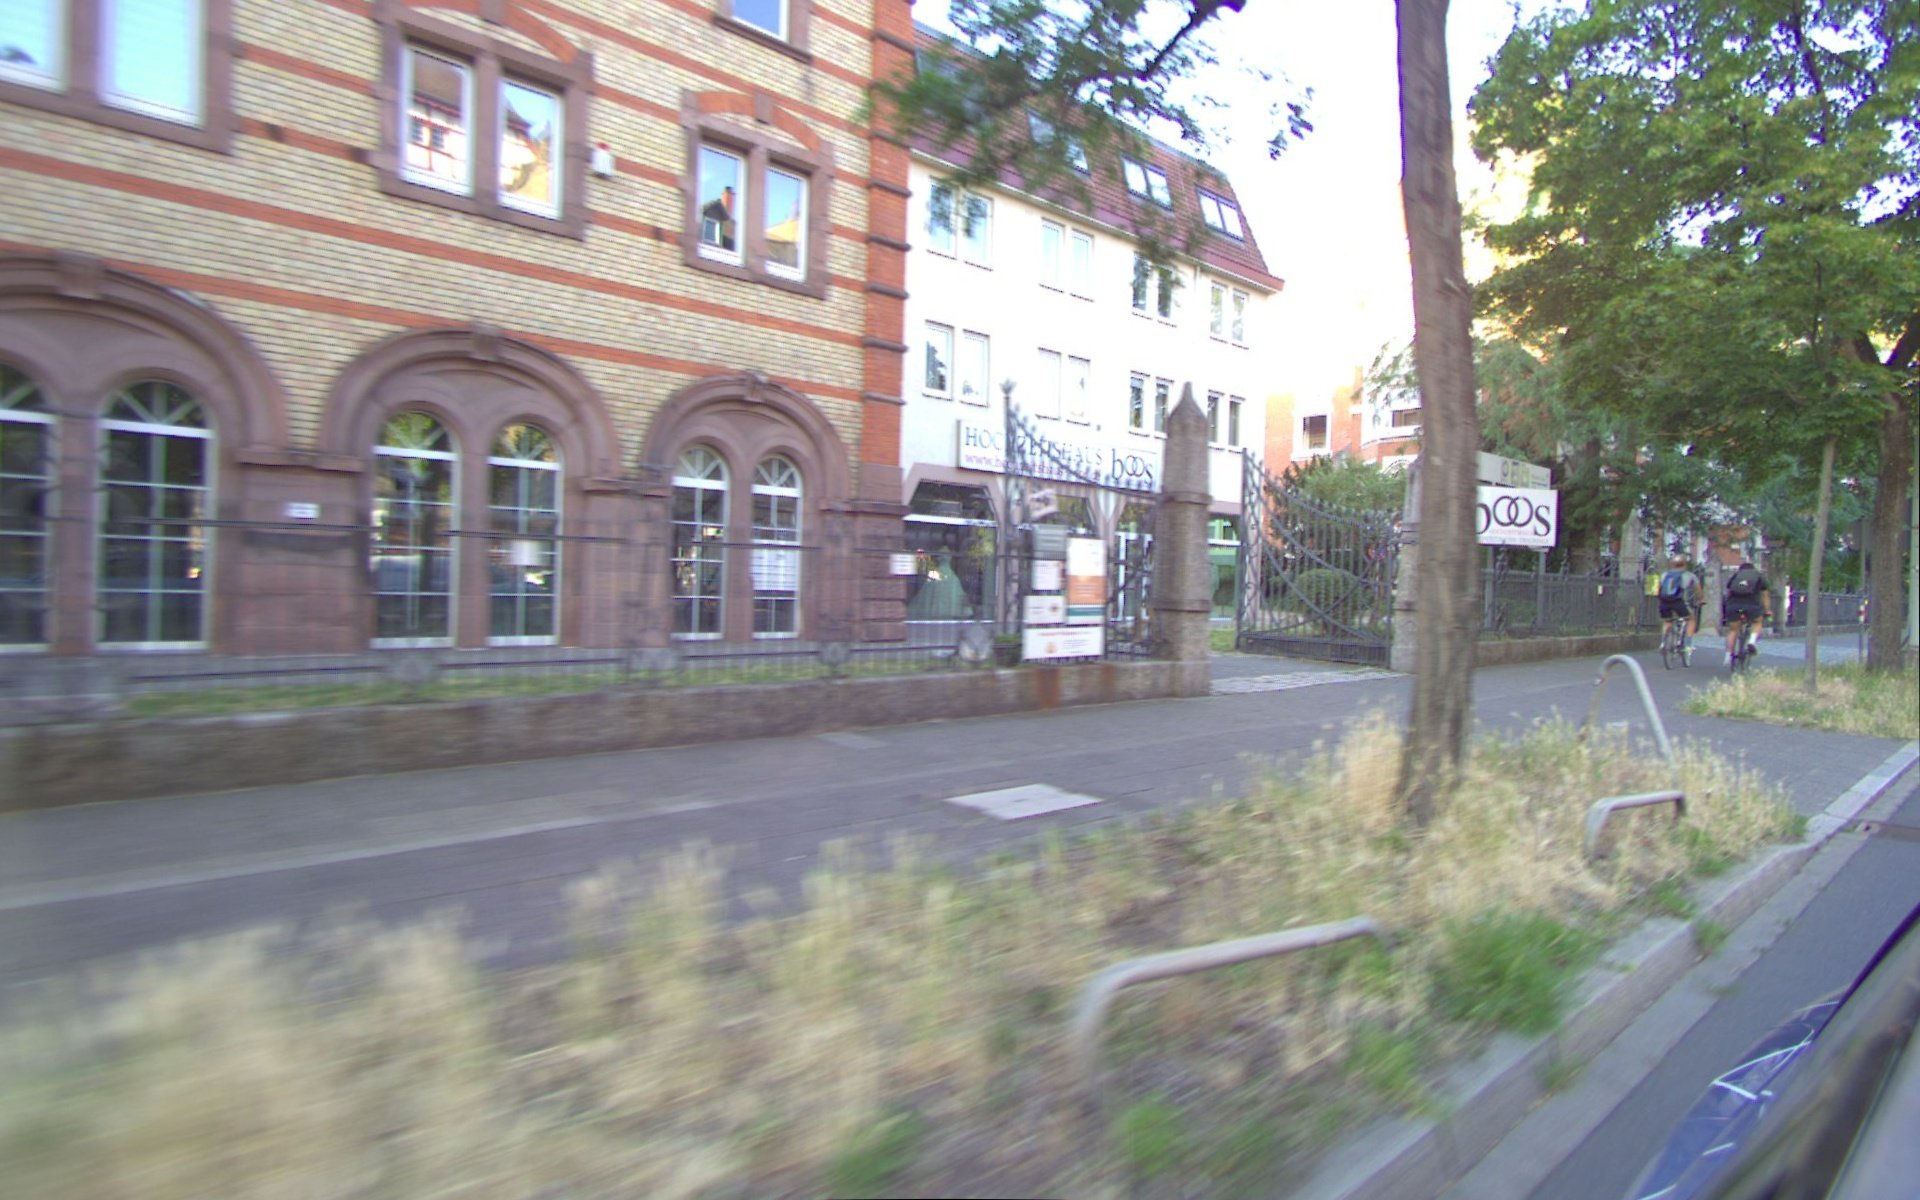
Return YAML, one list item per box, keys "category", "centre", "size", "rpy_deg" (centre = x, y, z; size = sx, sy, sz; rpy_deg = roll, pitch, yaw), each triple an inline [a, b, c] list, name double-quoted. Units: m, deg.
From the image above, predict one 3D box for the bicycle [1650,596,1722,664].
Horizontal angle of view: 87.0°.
- category: "bicycle"
  centre: [11.929, 0.463, 16.606]
  size: [2.052, 1.053, 0.518]
  rpy_deg: [0, 0, -41]

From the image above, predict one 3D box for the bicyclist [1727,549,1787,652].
- category: "bicyclist"
  centre: [12.427, 0.001, 15.777]
  size: [0.878, 1.551, 0.596]
  rpy_deg: [1, 0, -41]

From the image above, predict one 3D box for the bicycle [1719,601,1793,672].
- category: "bicycle"
  centre: [12.532, 0.541, 15.910]
  size: [2.052, 1.053, 0.545]
  rpy_deg: [0, 0, -41]

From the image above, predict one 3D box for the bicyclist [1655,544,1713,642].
- category: "bicyclist"
  centre: [11.822, -0.111, 16.526]
  size: [0.878, 1.551, 0.596]
  rpy_deg: [1, 0, -41]
